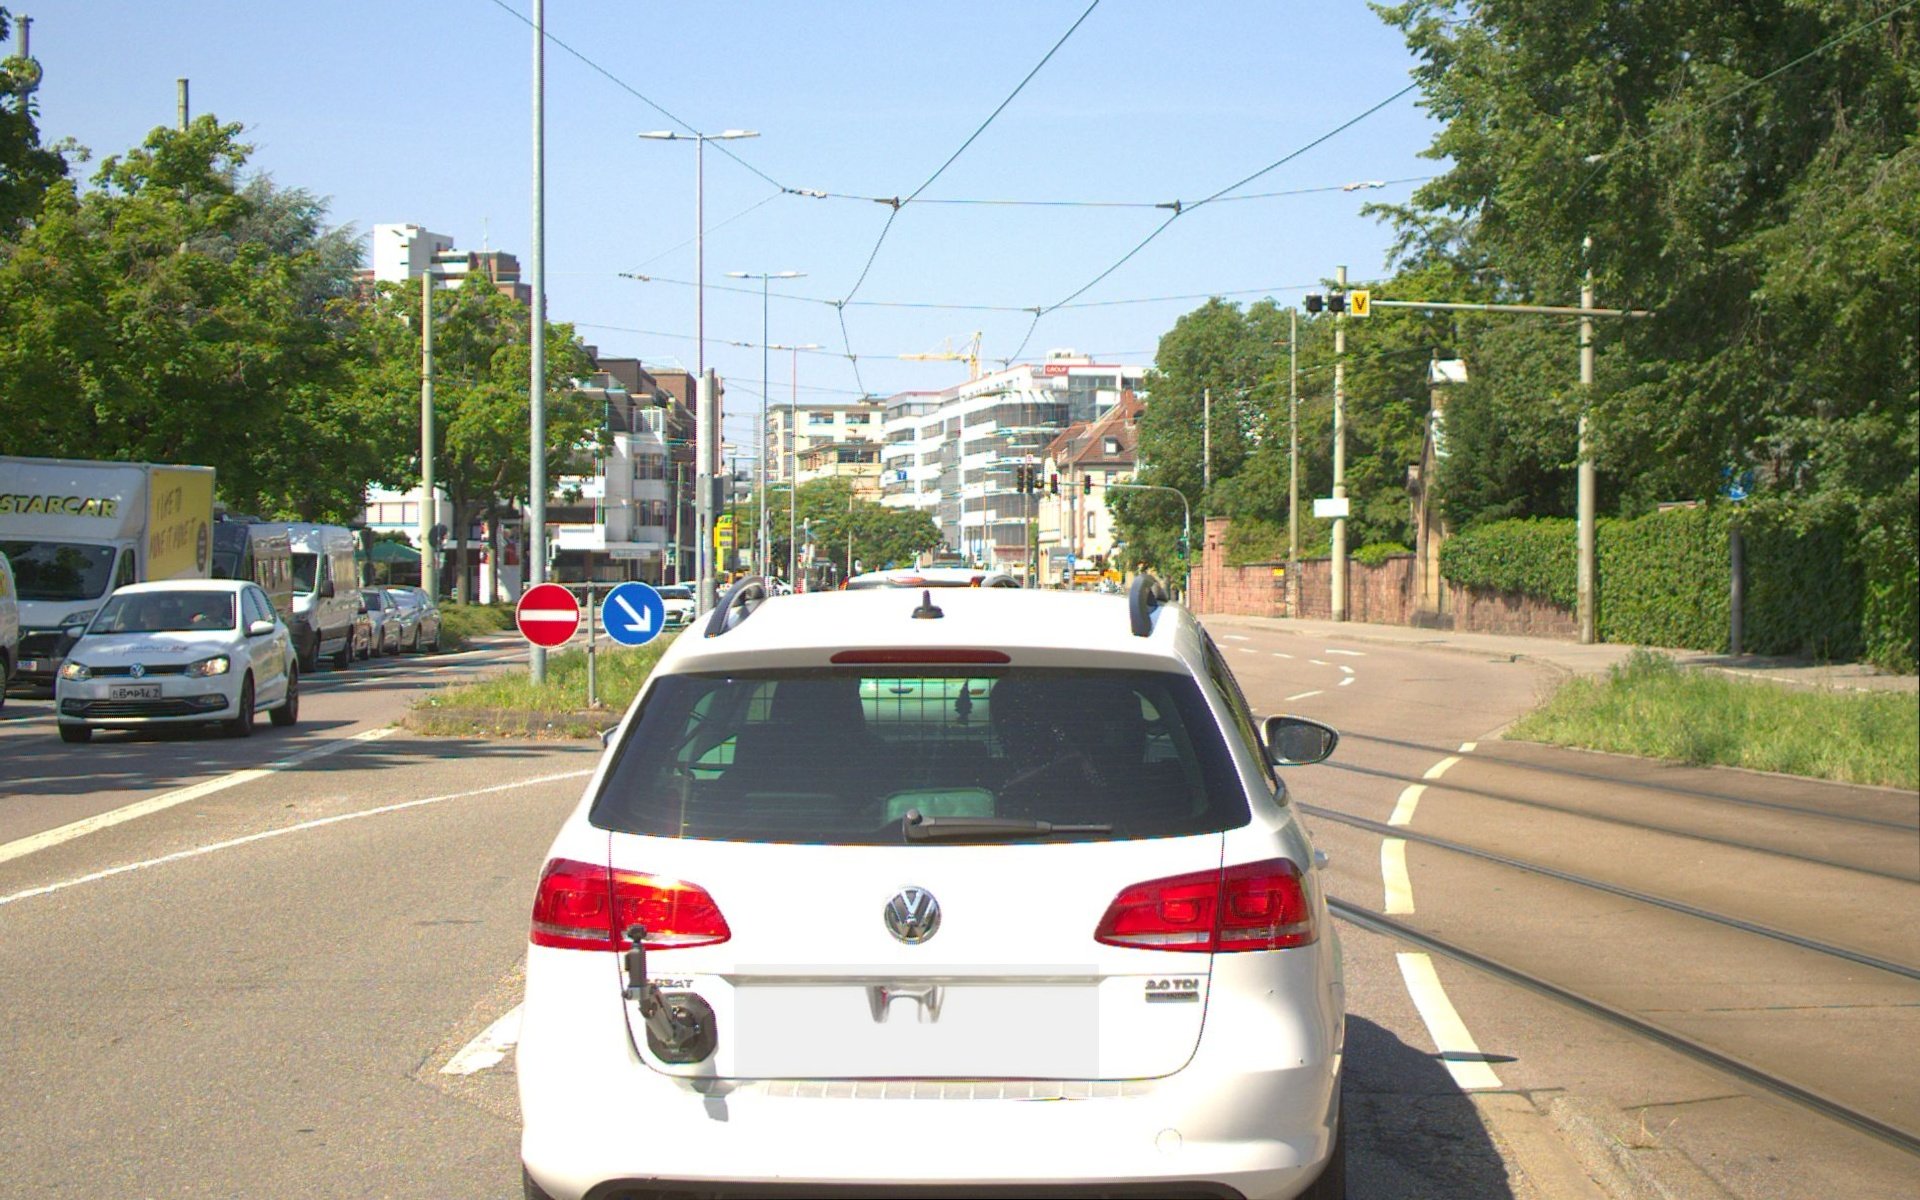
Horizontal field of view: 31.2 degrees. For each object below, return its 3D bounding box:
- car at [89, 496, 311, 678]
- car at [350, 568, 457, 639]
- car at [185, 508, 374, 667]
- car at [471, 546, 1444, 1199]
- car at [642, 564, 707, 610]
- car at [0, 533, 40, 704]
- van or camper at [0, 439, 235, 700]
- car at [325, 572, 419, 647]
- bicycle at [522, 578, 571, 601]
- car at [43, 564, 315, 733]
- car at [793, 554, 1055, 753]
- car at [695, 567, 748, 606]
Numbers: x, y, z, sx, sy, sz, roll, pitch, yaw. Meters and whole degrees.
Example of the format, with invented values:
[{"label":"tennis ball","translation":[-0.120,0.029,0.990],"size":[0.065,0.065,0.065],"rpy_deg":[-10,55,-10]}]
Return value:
[{"label":"car","translation":[-11.945,-0.226,54.463],"size":[2.196,2.659,6.080],"rpy_deg":[2,1,-1]},{"label":"car","translation":[-12.487,0.050,77.363],"size":[1.604,1.485,4.618],"rpy_deg":[2,1,0]},{"label":"car","translation":[-12.033,-0.238,61.180],"size":[2.196,2.622,5.979],"rpy_deg":[2,1,-1]},{"label":"car","translation":[-0.030,0.649,8.334],"size":[1.778,1.485,3.847],"rpy_deg":[2,1,-1]},{"label":"car","translation":[-9.021,-0.432,108.869],"size":[1.791,1.418,4.336],"rpy_deg":[0,1,-1]},{"label":"car","translation":[-11.959,0.226,38.120],"size":[2.196,1.934,5.185],"rpy_deg":[0,1,-1]},{"label":"van or camper","translation":[-11.677,-0.430,46.534],"size":[2.196,3.230,6.772],"rpy_deg":[2,1,0]},{"label":"car","translation":[-12.307,0.173,72.132],"size":[1.291,1.485,4.351],"rpy_deg":[2,1,-1]},{"label":"bicycle","translation":[-16.961,-0.429,141.130],"size":[0.553,0.918,2.172],"rpy_deg":[0,1,42]},{"label":"car","translation":[-7.163,0.399,31.898],"size":[1.727,1.460,4.000],"rpy_deg":[0,1,-2]},{"label":"car","translation":[-0.248,0.425,30.227],"size":[1.731,1.591,4.010],"rpy_deg":[1,1,7]},{"label":"car","translation":[-10.020,-0.569,144.619],"size":[2.043,1.592,4.660],"rpy_deg":[0,1,-2]}]
